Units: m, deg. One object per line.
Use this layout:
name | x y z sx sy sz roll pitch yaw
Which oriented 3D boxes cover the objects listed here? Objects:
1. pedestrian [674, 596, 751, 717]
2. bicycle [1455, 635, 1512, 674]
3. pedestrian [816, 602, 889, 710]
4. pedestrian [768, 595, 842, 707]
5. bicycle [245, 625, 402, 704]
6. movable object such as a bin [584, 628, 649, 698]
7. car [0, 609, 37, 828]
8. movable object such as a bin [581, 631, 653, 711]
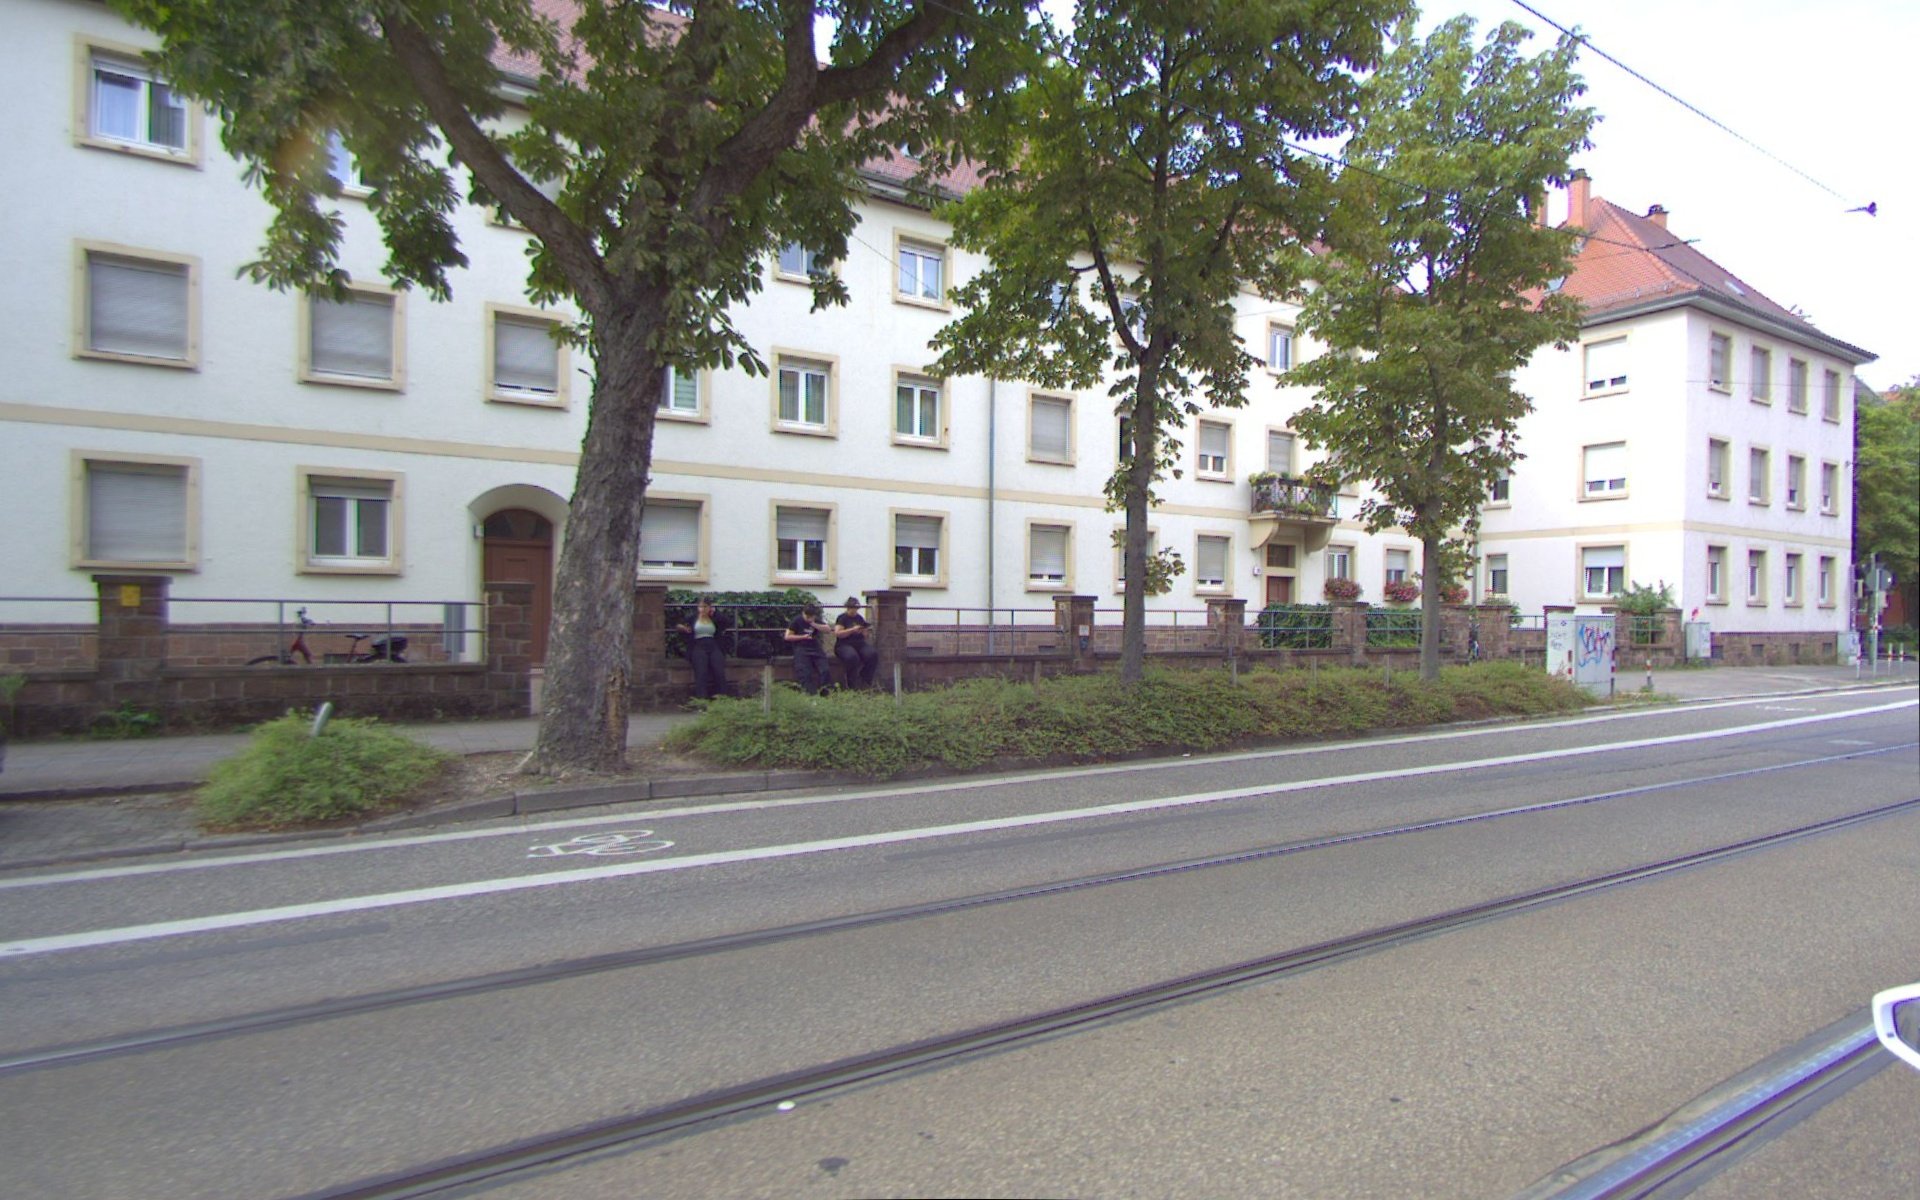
pedestrian | -3.268 0.725 13.262 0.725 1.532 0.827 1 -1 -36
bicycle | 13.120 1.350 25.170 1.653 0.927 0.475 1 -1 -31
pedestrian | -1.544 0.779 14.424 0.725 1.484 0.827 1 -1 -36
pedestrian | -2.158 0.688 13.942 0.725 1.484 0.827 1 -1 -36
bicycle | -7.461 0.738 11.844 1.532 0.874 0.506 1 -1 -31
movable object such as a bin | -5.306 0.953 15.521 0.826 1.038 0.656 1 -1 -31
car | -8.343 0.804 5.731 4.251 1.442 1.687 1 2 -31
movable object such as a bin | -4.725 0.960 13.837 0.826 1.038 0.656 1 -1 -31
